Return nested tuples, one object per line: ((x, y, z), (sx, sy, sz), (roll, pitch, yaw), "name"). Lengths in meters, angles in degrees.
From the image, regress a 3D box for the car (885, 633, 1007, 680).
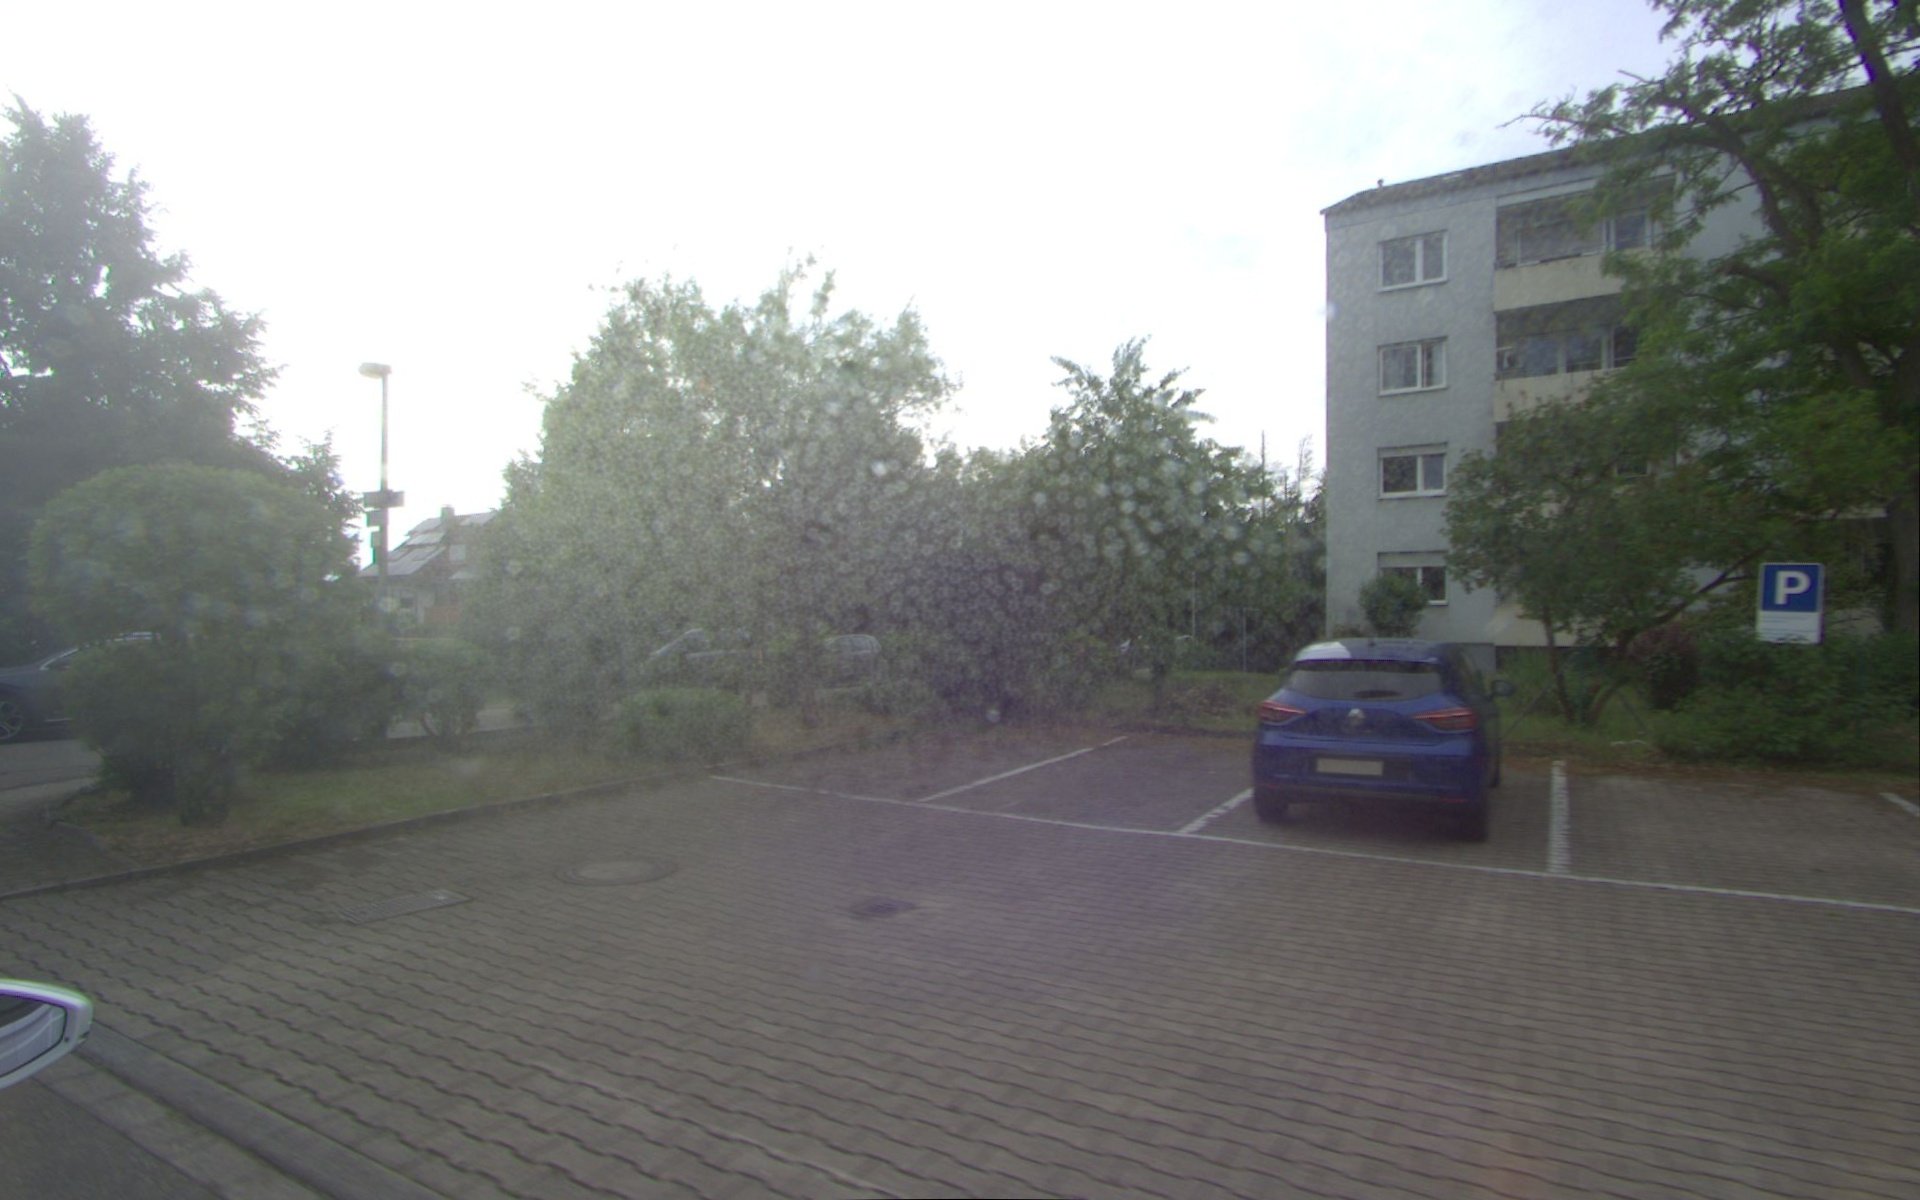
((-0.377, 1.862, 33.371), (1.759, 1.446, 4.451), (-3, -3, 36), "car")

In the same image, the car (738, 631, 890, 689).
((-4.004, 1.652, 28.110), (1.741, 1.497, 4.279), (-3, -3, 36), "car")

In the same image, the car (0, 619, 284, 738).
((-12.538, 1.106, 14.574), (1.725, 1.550, 4.170), (-3, -3, 35), "car")

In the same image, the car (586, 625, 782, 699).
((-6.498, 1.458, 24.085), (1.739, 1.613, 4.529), (-3, -3, 33), "car")

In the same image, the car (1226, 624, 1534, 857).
((3.885, 0.994, 8.830), (1.998, 1.530, 3.893), (0, -1, 31), "car")
